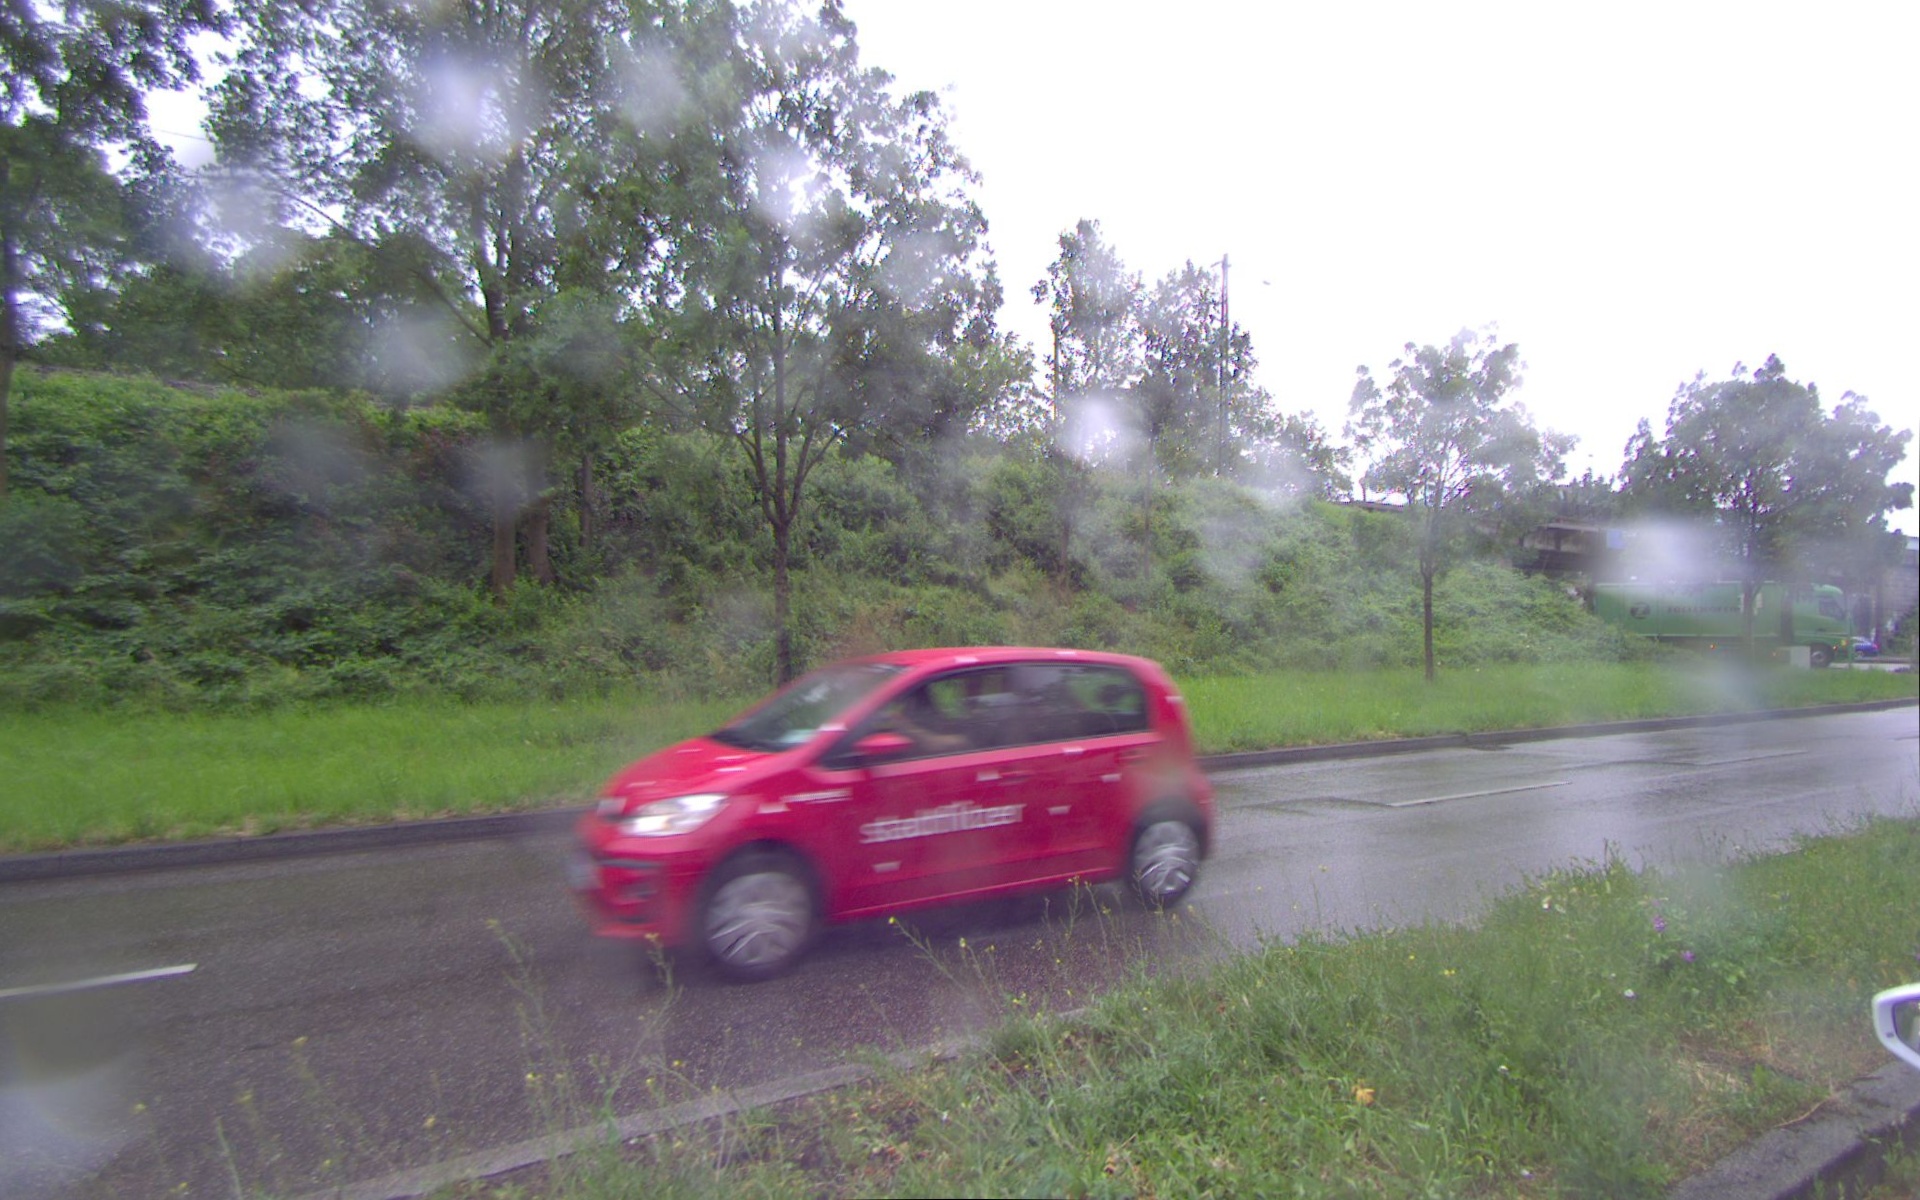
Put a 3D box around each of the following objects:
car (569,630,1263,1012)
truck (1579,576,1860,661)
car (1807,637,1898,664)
[{"bbox_3d":[-0.206,0.958,5.718,3.571,1.533,1.708,1,-3,-30],"label":"car"},{"bbox_3d":[34.790,0.811,46.610,9.947,3.497,2.657,2,-1,24],"label":"truck"},{"bbox_3d":[54.443,3.080,61.370,3.883,1.545,1.769,-2,-2,35],"label":"car"}]
